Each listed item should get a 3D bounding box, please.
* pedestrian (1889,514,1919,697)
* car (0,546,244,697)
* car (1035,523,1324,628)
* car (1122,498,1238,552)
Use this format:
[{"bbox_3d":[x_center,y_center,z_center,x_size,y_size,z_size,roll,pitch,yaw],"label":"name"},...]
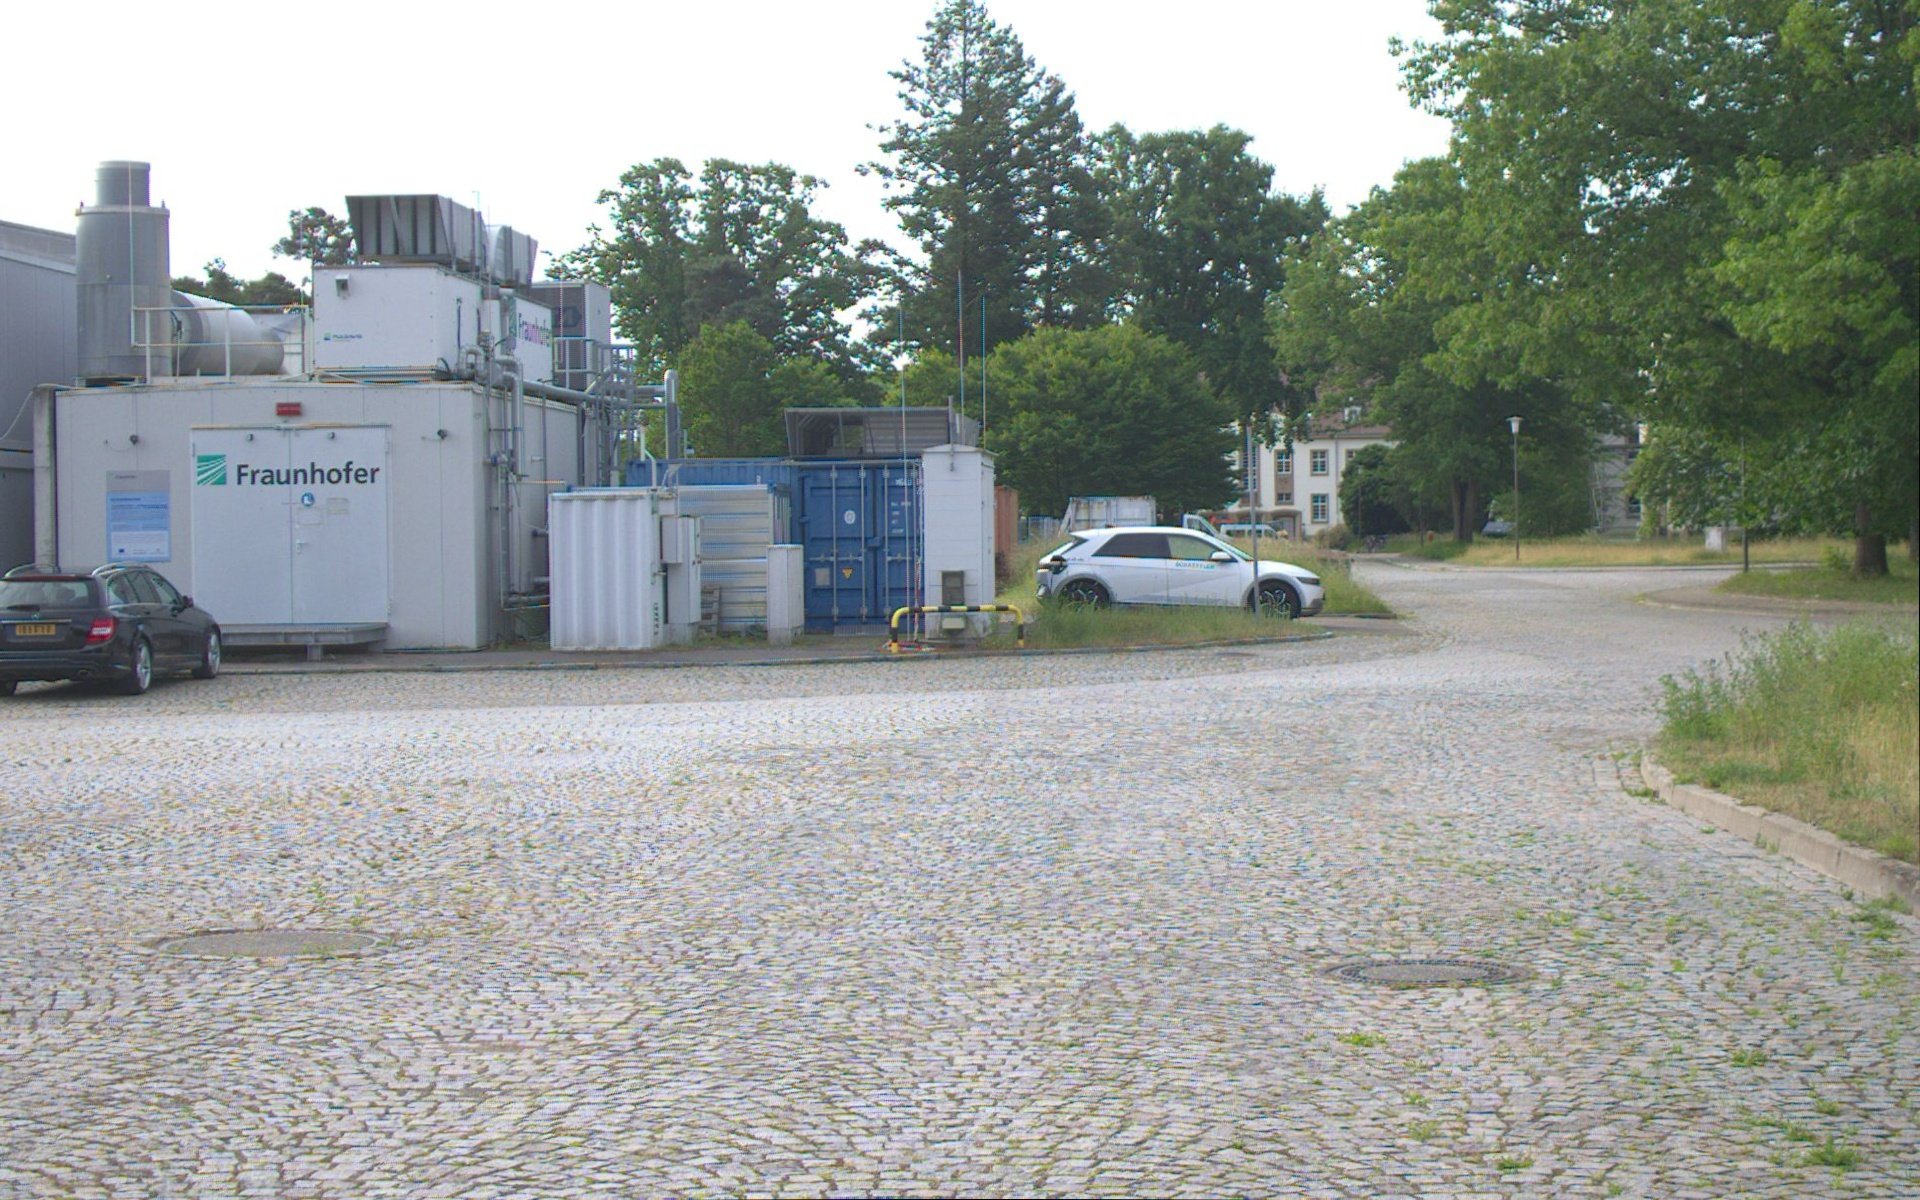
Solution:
[{"bbox_3d":[8.637,0.032,29.461,1.077,1.551,1.073,0,1,28],"label":"pedestrian"},{"bbox_3d":[-9.767,0.199,39.046,2.036,1.448,4.530,-1,3,4],"label":"car"},{"bbox_3d":[3.557,-0.403,55.274,4.535,1.594,2.000,-1,1,6],"label":"car"},{"bbox_3d":[10.017,-3.410,156.616,5.171,2.329,2.000,-1,1,4],"label":"car"}]
